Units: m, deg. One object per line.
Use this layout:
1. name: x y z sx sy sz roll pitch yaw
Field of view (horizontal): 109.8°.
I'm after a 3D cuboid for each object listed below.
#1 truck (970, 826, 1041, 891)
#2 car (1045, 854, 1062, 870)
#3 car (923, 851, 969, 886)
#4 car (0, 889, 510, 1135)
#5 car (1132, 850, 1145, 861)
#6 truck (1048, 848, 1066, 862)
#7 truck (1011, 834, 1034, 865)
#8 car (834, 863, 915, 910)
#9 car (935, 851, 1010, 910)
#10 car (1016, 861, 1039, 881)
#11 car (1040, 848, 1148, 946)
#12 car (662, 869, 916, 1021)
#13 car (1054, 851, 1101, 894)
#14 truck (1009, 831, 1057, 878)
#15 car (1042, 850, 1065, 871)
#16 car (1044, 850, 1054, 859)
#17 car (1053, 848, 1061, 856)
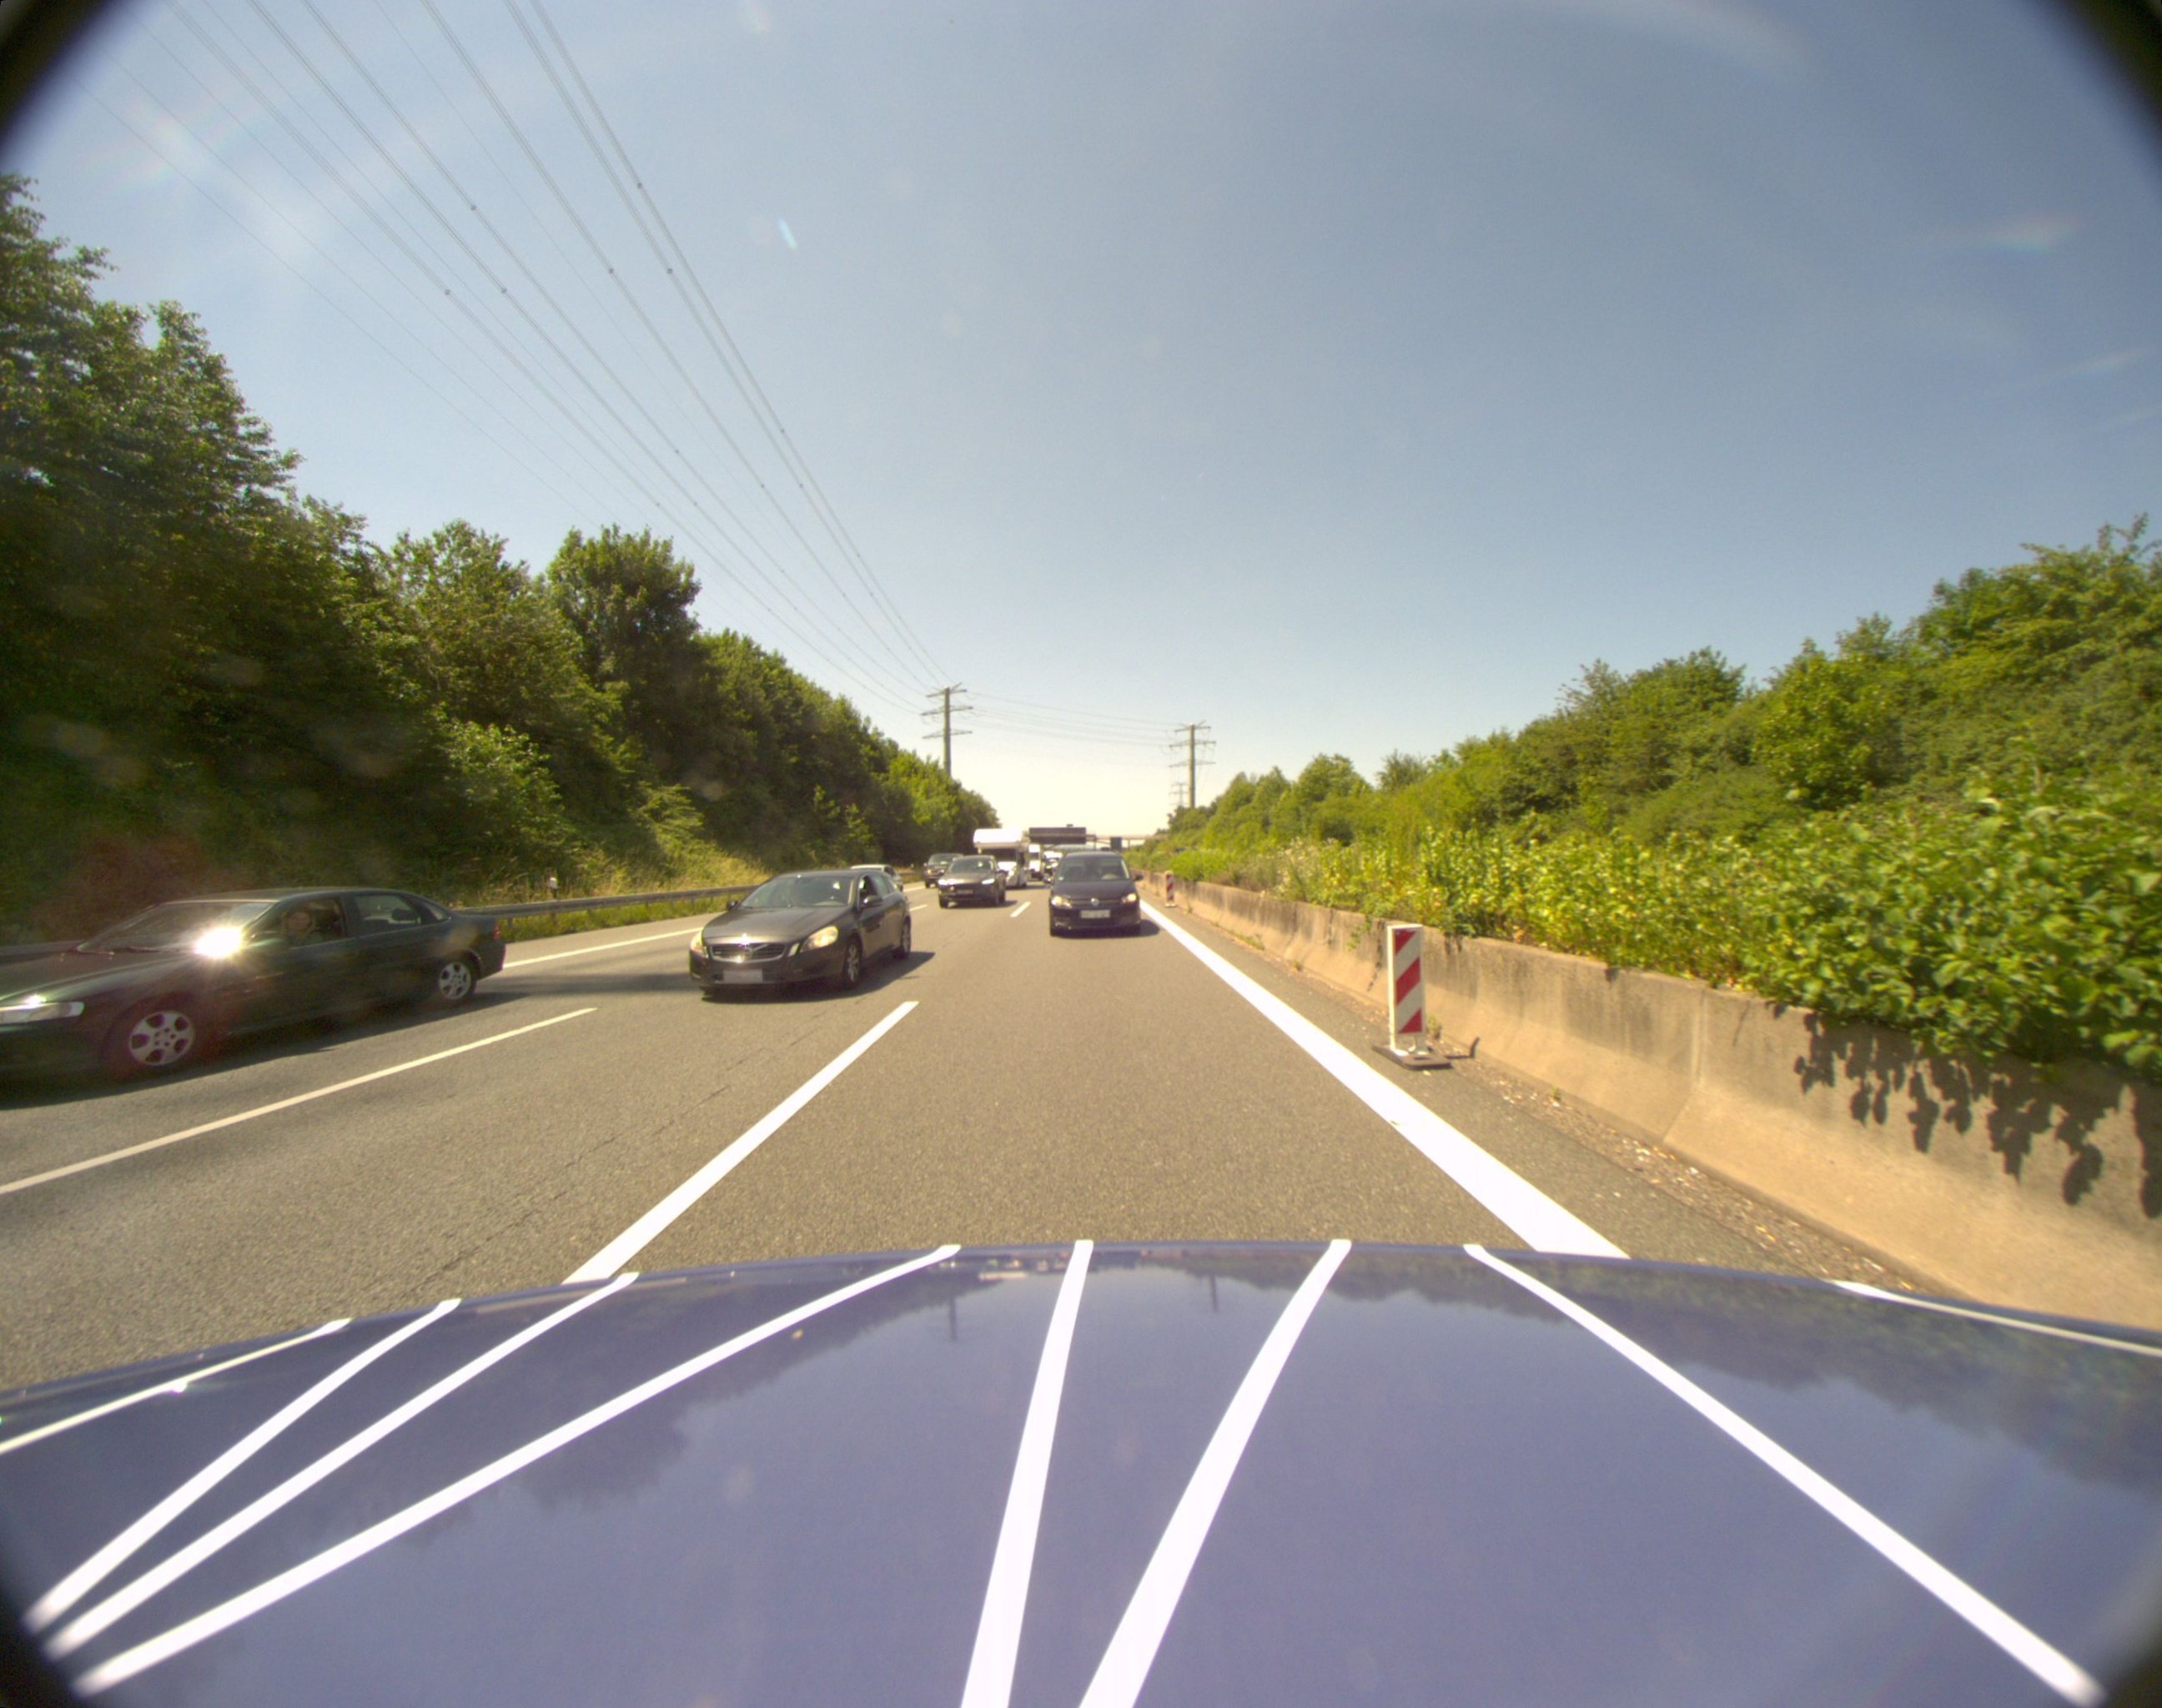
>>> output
1. truck: -3.892 0.171 41.377 2.514 2.997 9.897 -2 1 1
2. car: -3.162 0.912 87.965 1.892 1.693 4.382 -2 1 -1
3. car: -7.869 0.801 44.637 1.788 1.893 4.697 -2 1 0
4. car: -7.885 1.171 7.123 1.739 1.370 4.302 -2 1 0
5. car: 15.405 0.405 203.106 2.769 2.856 7.676 -2 1 0
6. truck: -3.791 0.127 121.981 2.409 2.203 6.743 -2 1 1
7. truck: -7.316 -0.576 96.435 2.409 3.557 9.189 -2 1 -2
8. car: -7.307 1.109 27.320 1.745 1.461 4.014 -2 0 1
9. car: -3.500 0.804 25.297 1.892 1.693 4.382 -2 1 -1
10. car: -5.060 1.622 72.622 1.892 1.693 4.382 -2 1 -1
11. car: 0.200 0.763 15.992 1.892 1.693 4.382 -2 1 -1
12. car: -3.581 1.017 10.249 1.800 1.429 4.230 -2 1 -1
13. car: -0.199 0.776 33.655 1.892 1.693 4.382 -2 1 -1
14. truck: -3.315 -0.018 54.972 2.514 2.997 9.897 -2 1 1
15. car: -2.407 0.542 66.875 1.892 1.693 4.382 -2 1 -1
16. car: -7.291 0.137 172.291 1.998 2.002 4.000 -2 1 1
17. car: -6.446 -0.608 203.308 1.998 2.002 4.000 -2 1 1
